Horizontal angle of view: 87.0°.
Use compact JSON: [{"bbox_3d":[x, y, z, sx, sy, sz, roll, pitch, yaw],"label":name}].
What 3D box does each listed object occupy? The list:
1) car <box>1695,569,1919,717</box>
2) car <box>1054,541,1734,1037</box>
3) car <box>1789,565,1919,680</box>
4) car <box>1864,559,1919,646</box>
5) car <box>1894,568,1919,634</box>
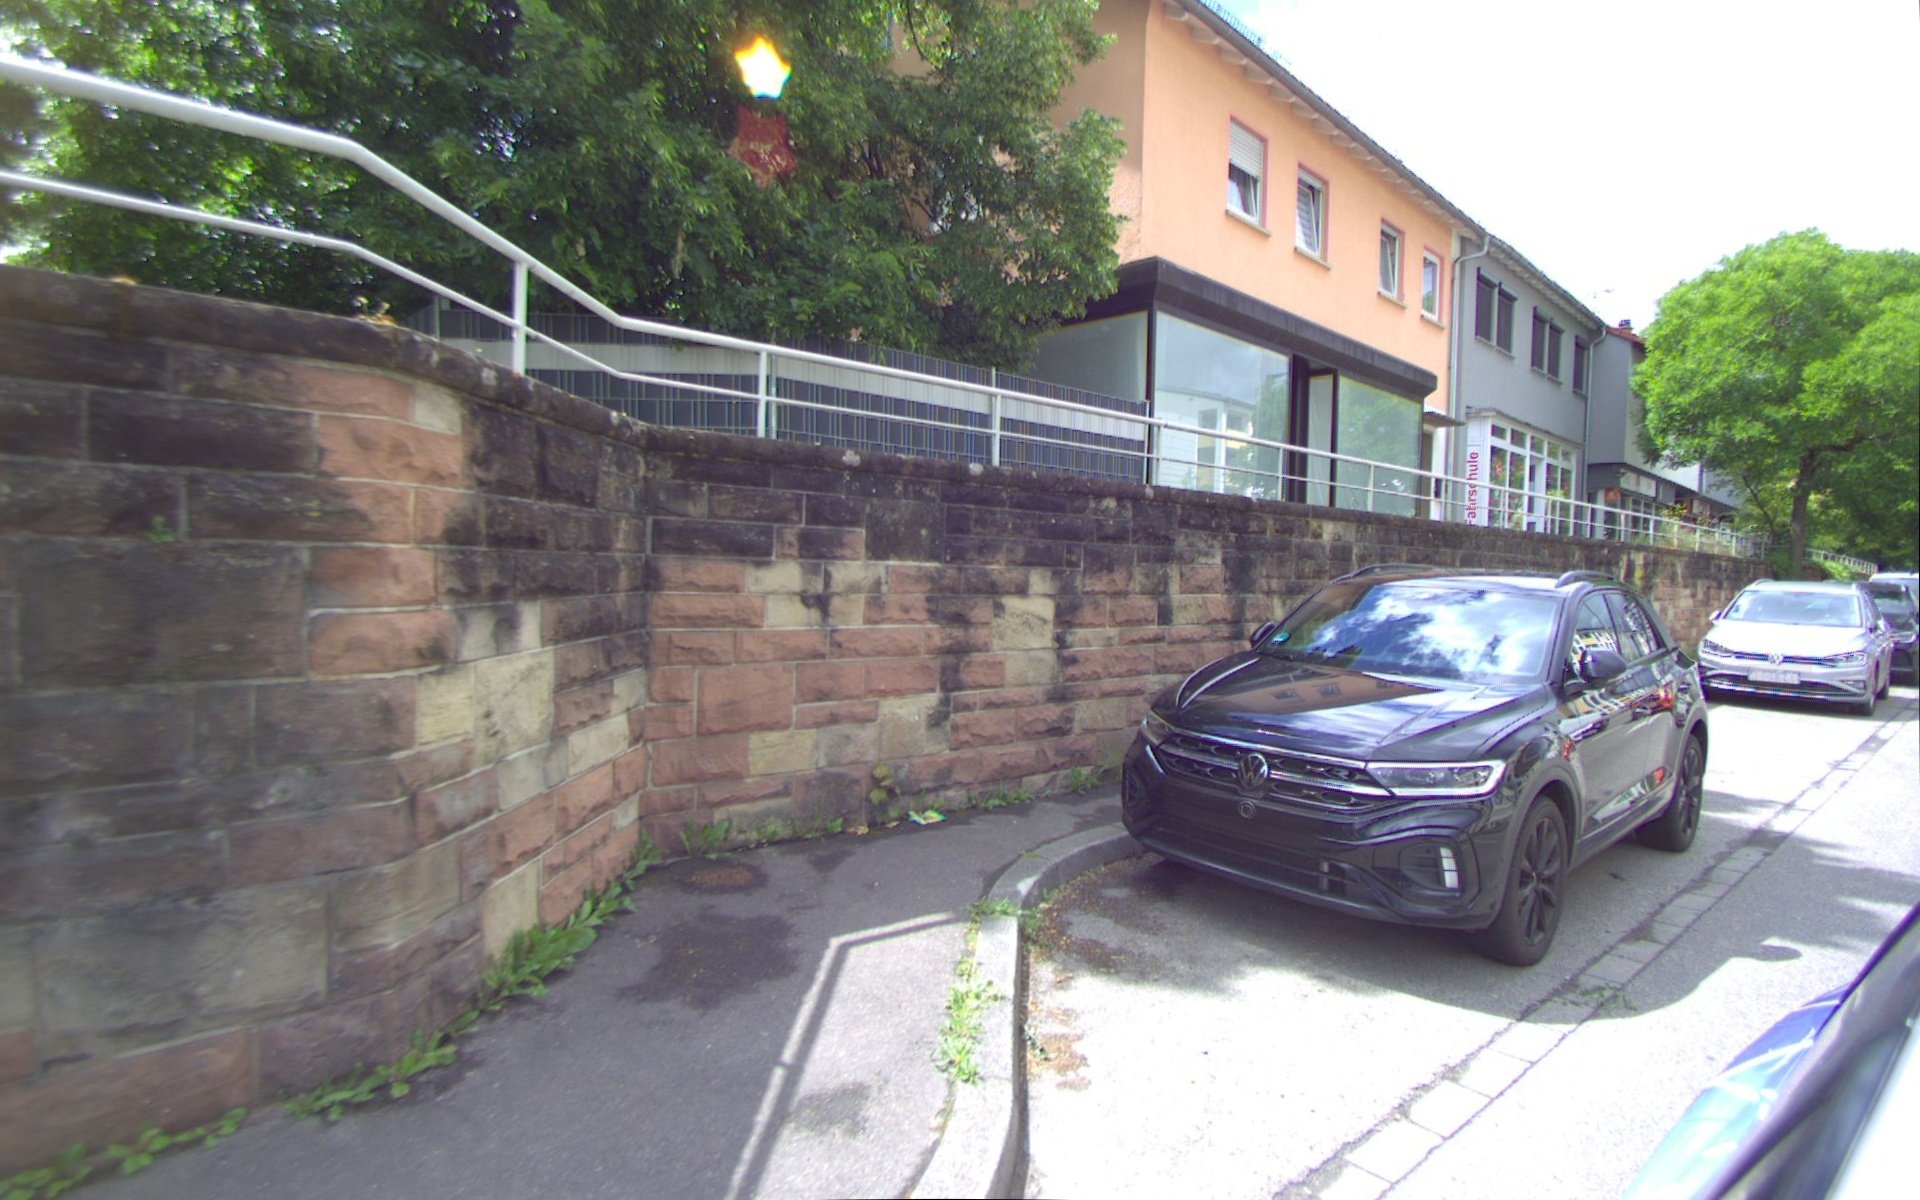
[{"bbox_3d":[11.318,0.458,13.376,4.104,1.587,1.758,0,3,-43],"label":"car"},{"bbox_3d":[2.480,0.553,5.262,3.954,1.599,1.758,-1,3,-43],"label":"car"},{"bbox_3d":[15.783,0.307,17.419,3.932,1.737,1.758,-1,3,-43],"label":"car"},{"bbox_3d":[24.334,0.033,25.450,4.886,2.033,1.852,-1,3,-43],"label":"car"},{"bbox_3d":[30.884,0.022,31.763,4.886,1.961,1.852,-1,3,-43],"label":"car"}]
